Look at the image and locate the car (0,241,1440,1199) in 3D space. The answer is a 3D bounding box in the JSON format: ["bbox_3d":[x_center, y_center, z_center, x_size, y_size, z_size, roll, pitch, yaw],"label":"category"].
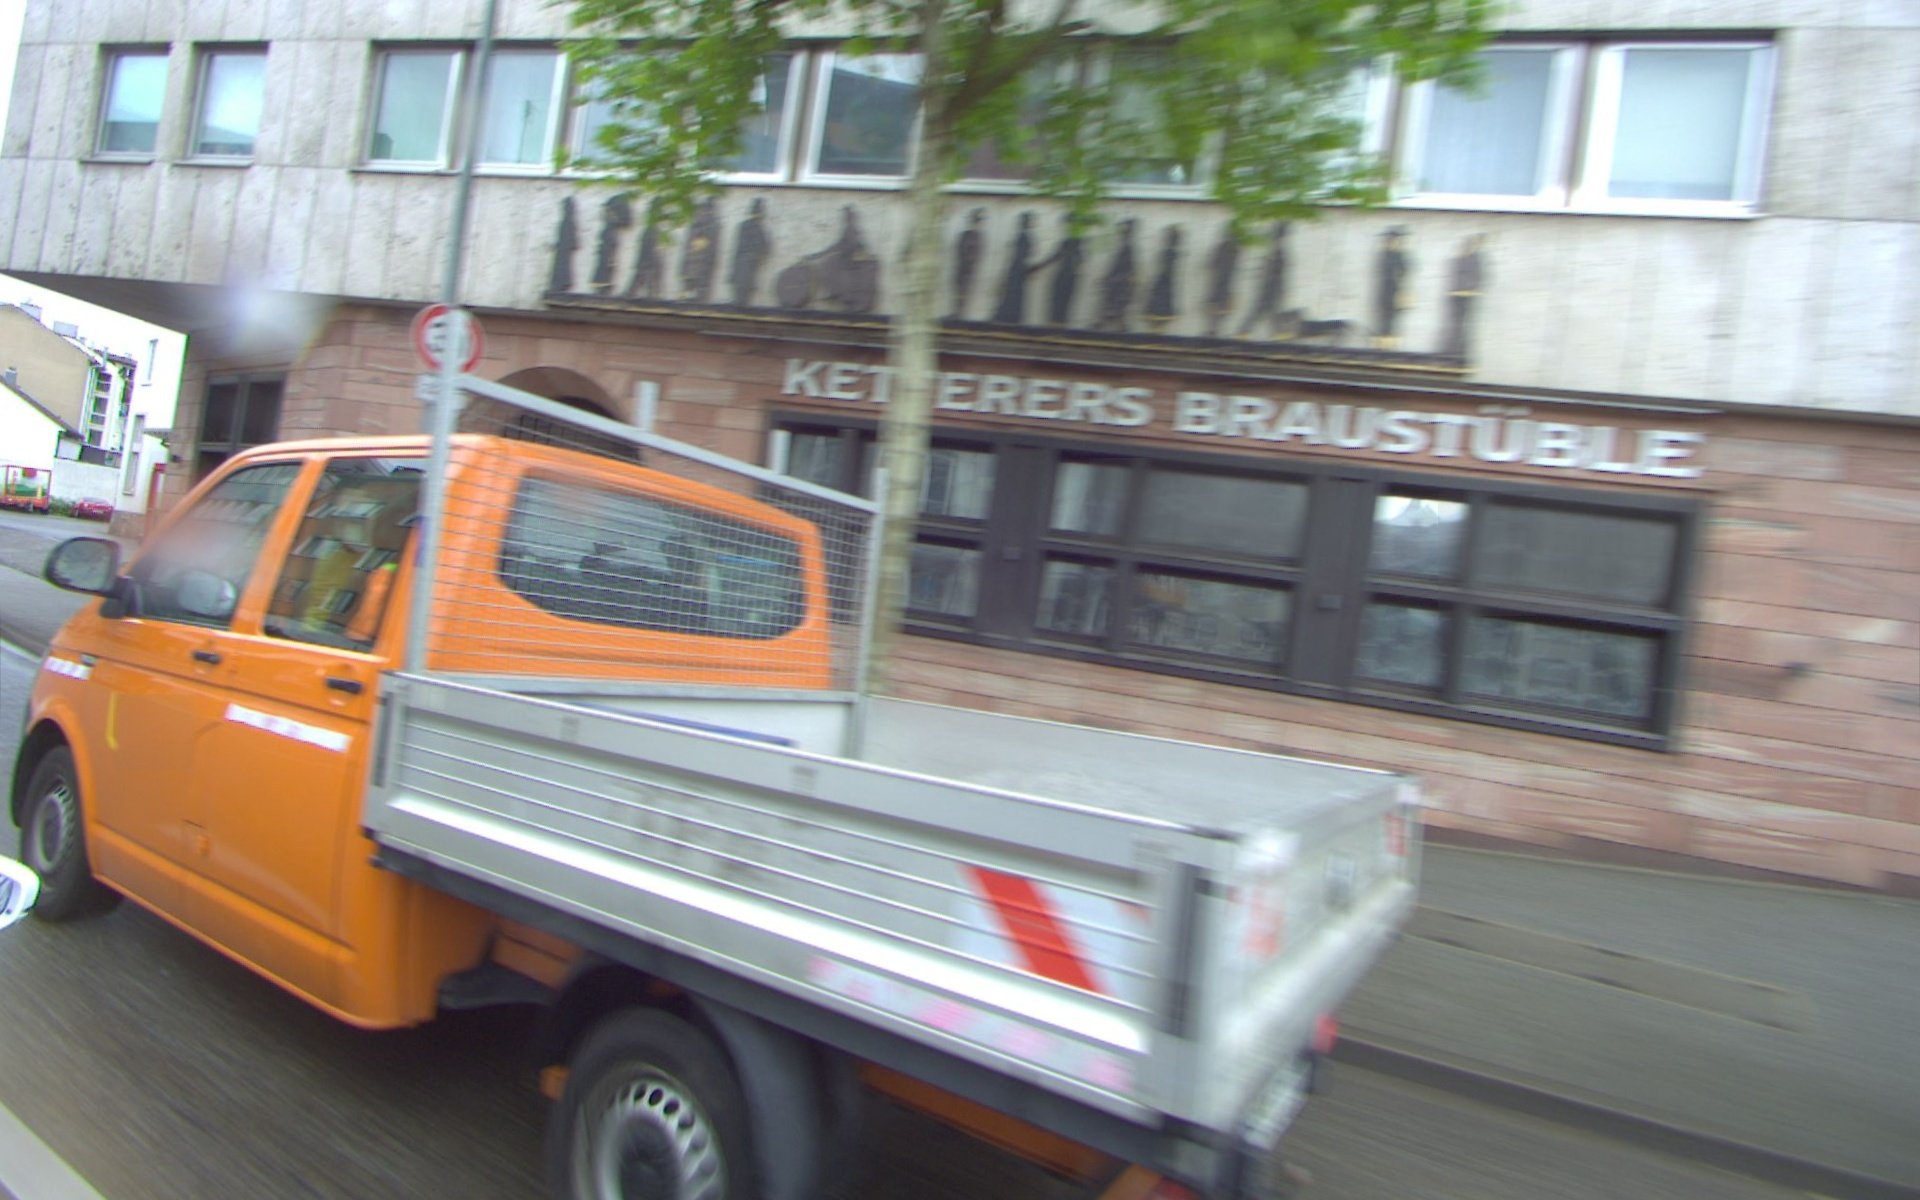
[{"bbox_3d":[-1.489,0.386,3.708,5.452,2.115,2.103,7,1,34],"label":"car"}]

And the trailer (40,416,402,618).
[{"bbox_3d":[-15.063,-1.630,20.692,5.607,3.214,2.638,7,0,11],"label":"trailer"}]

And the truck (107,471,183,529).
[{"bbox_3d":[-53.655,-6.616,66.175,6.833,3.255,2.627,7,0,42],"label":"truck"}]

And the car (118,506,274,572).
[{"bbox_3d":[-24.591,-1.911,32.561,1.739,1.602,4.000,9,0,2],"label":"car"}]

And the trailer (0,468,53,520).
[{"bbox_3d":[-57.678,-6.549,61.713,5.313,2.751,2.124,8,1,40],"label":"trailer"}]

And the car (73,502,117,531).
[{"bbox_3d":[-54.912,-5.308,63.838,3.219,1.474,1.588,7,-1,42],"label":"car"}]
